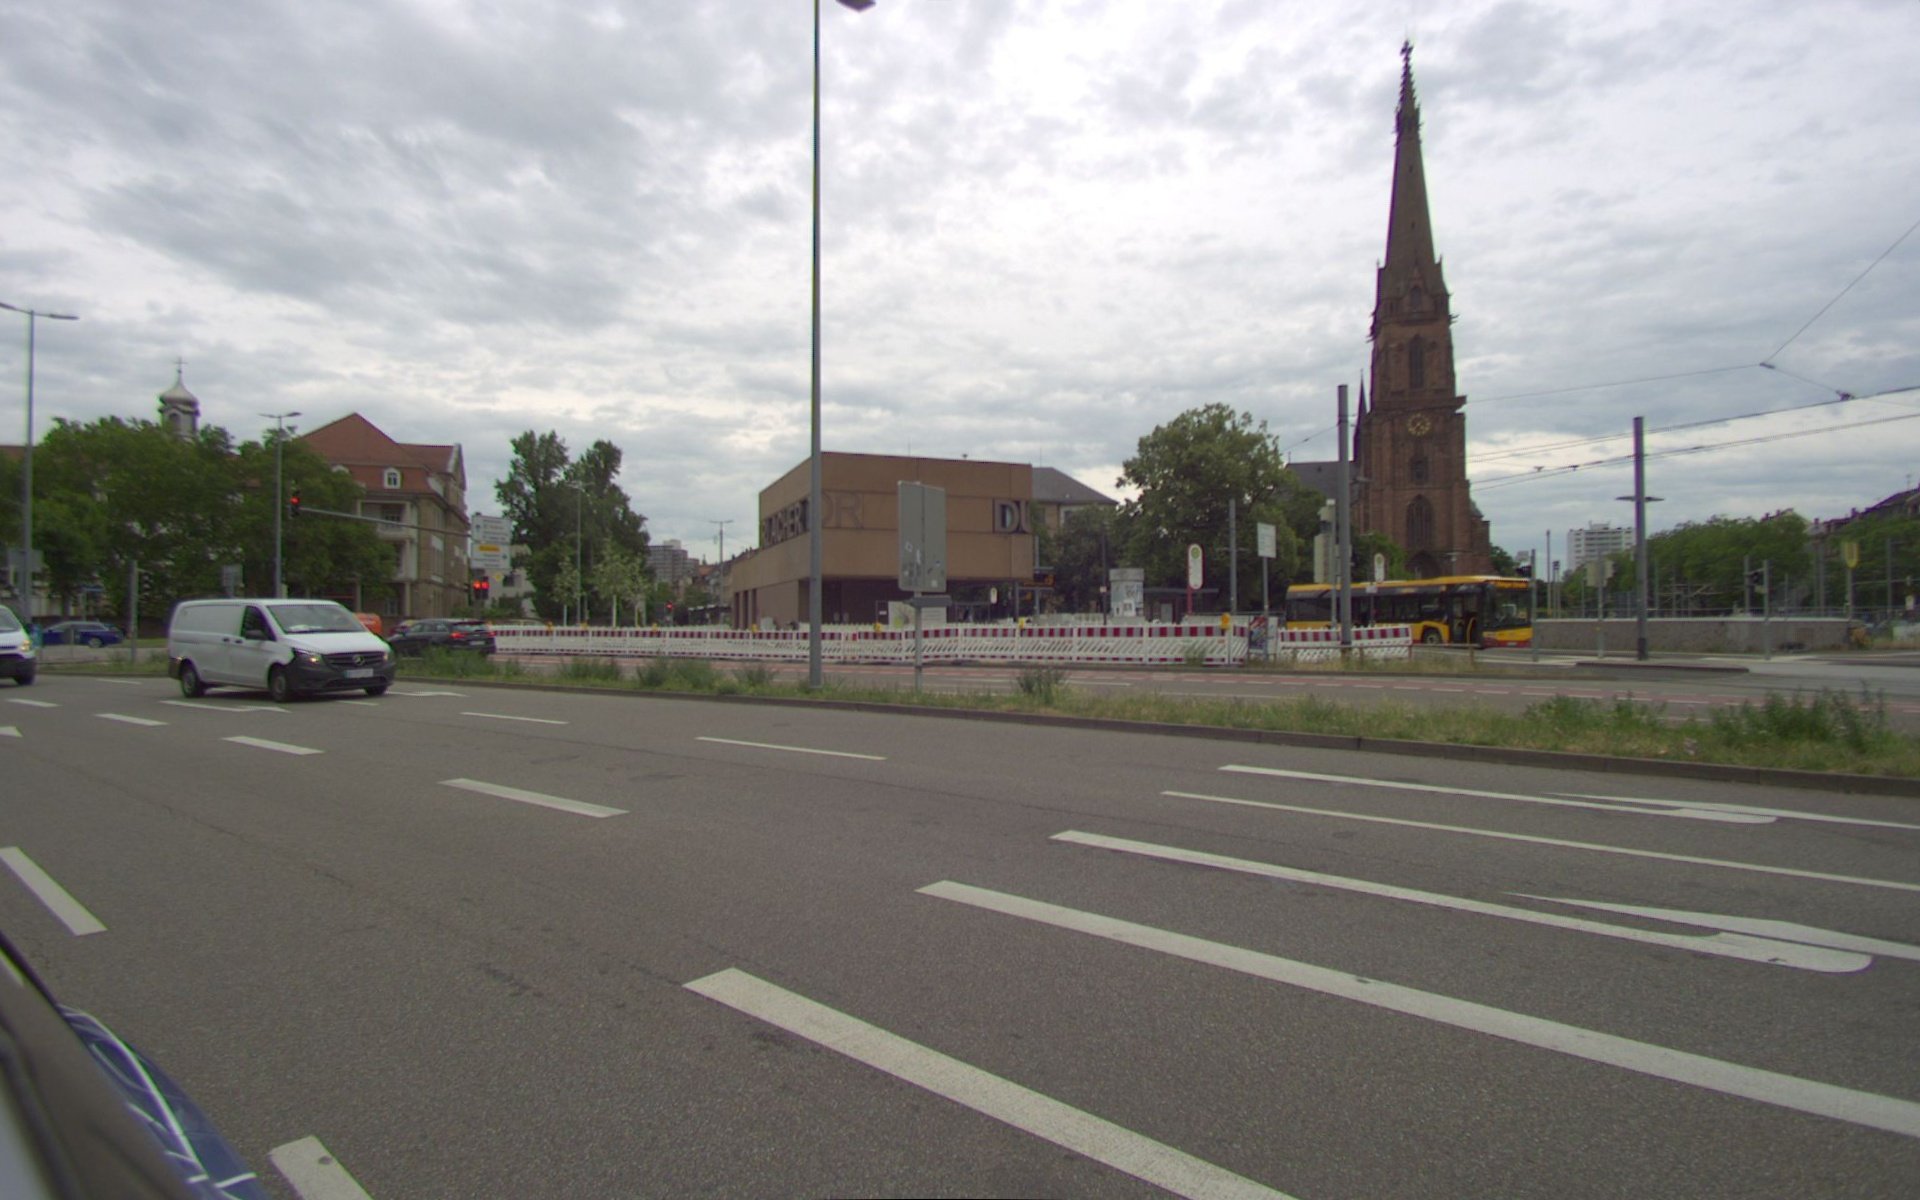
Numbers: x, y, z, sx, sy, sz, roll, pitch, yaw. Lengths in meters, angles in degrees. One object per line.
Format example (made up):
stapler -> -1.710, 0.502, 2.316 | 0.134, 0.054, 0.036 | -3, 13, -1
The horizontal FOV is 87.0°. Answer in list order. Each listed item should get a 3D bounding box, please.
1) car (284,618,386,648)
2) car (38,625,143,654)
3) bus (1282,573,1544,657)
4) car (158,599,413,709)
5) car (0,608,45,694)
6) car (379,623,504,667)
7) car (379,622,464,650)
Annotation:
car -> -37.522, 1.948, 60.920 | 1.898, 1.730, 5.211 | -1, -2, 18
car -> -48.247, 2.166, 56.300 | 4.275, 1.552, 1.917 | 1, -2, -37
bus -> 18.892, 0.639, 43.730 | 2.815, 3.100, 12.058 | -1, -1, -19
car -> -13.032, 0.977, 19.486 | 5.064, 1.896, 1.906 | -1, 0, 28
car -> -23.978, 1.209, 23.923 | 4.500, 1.957, 1.982 | -1, -2, 26
car -> -17.494, 1.479, 34.107 | 3.986, 1.409, 1.979 | -1, -2, 31
car -> -32.148, 2.131, 60.544 | 1.900, 1.552, 4.314 | -1, -2, 22
